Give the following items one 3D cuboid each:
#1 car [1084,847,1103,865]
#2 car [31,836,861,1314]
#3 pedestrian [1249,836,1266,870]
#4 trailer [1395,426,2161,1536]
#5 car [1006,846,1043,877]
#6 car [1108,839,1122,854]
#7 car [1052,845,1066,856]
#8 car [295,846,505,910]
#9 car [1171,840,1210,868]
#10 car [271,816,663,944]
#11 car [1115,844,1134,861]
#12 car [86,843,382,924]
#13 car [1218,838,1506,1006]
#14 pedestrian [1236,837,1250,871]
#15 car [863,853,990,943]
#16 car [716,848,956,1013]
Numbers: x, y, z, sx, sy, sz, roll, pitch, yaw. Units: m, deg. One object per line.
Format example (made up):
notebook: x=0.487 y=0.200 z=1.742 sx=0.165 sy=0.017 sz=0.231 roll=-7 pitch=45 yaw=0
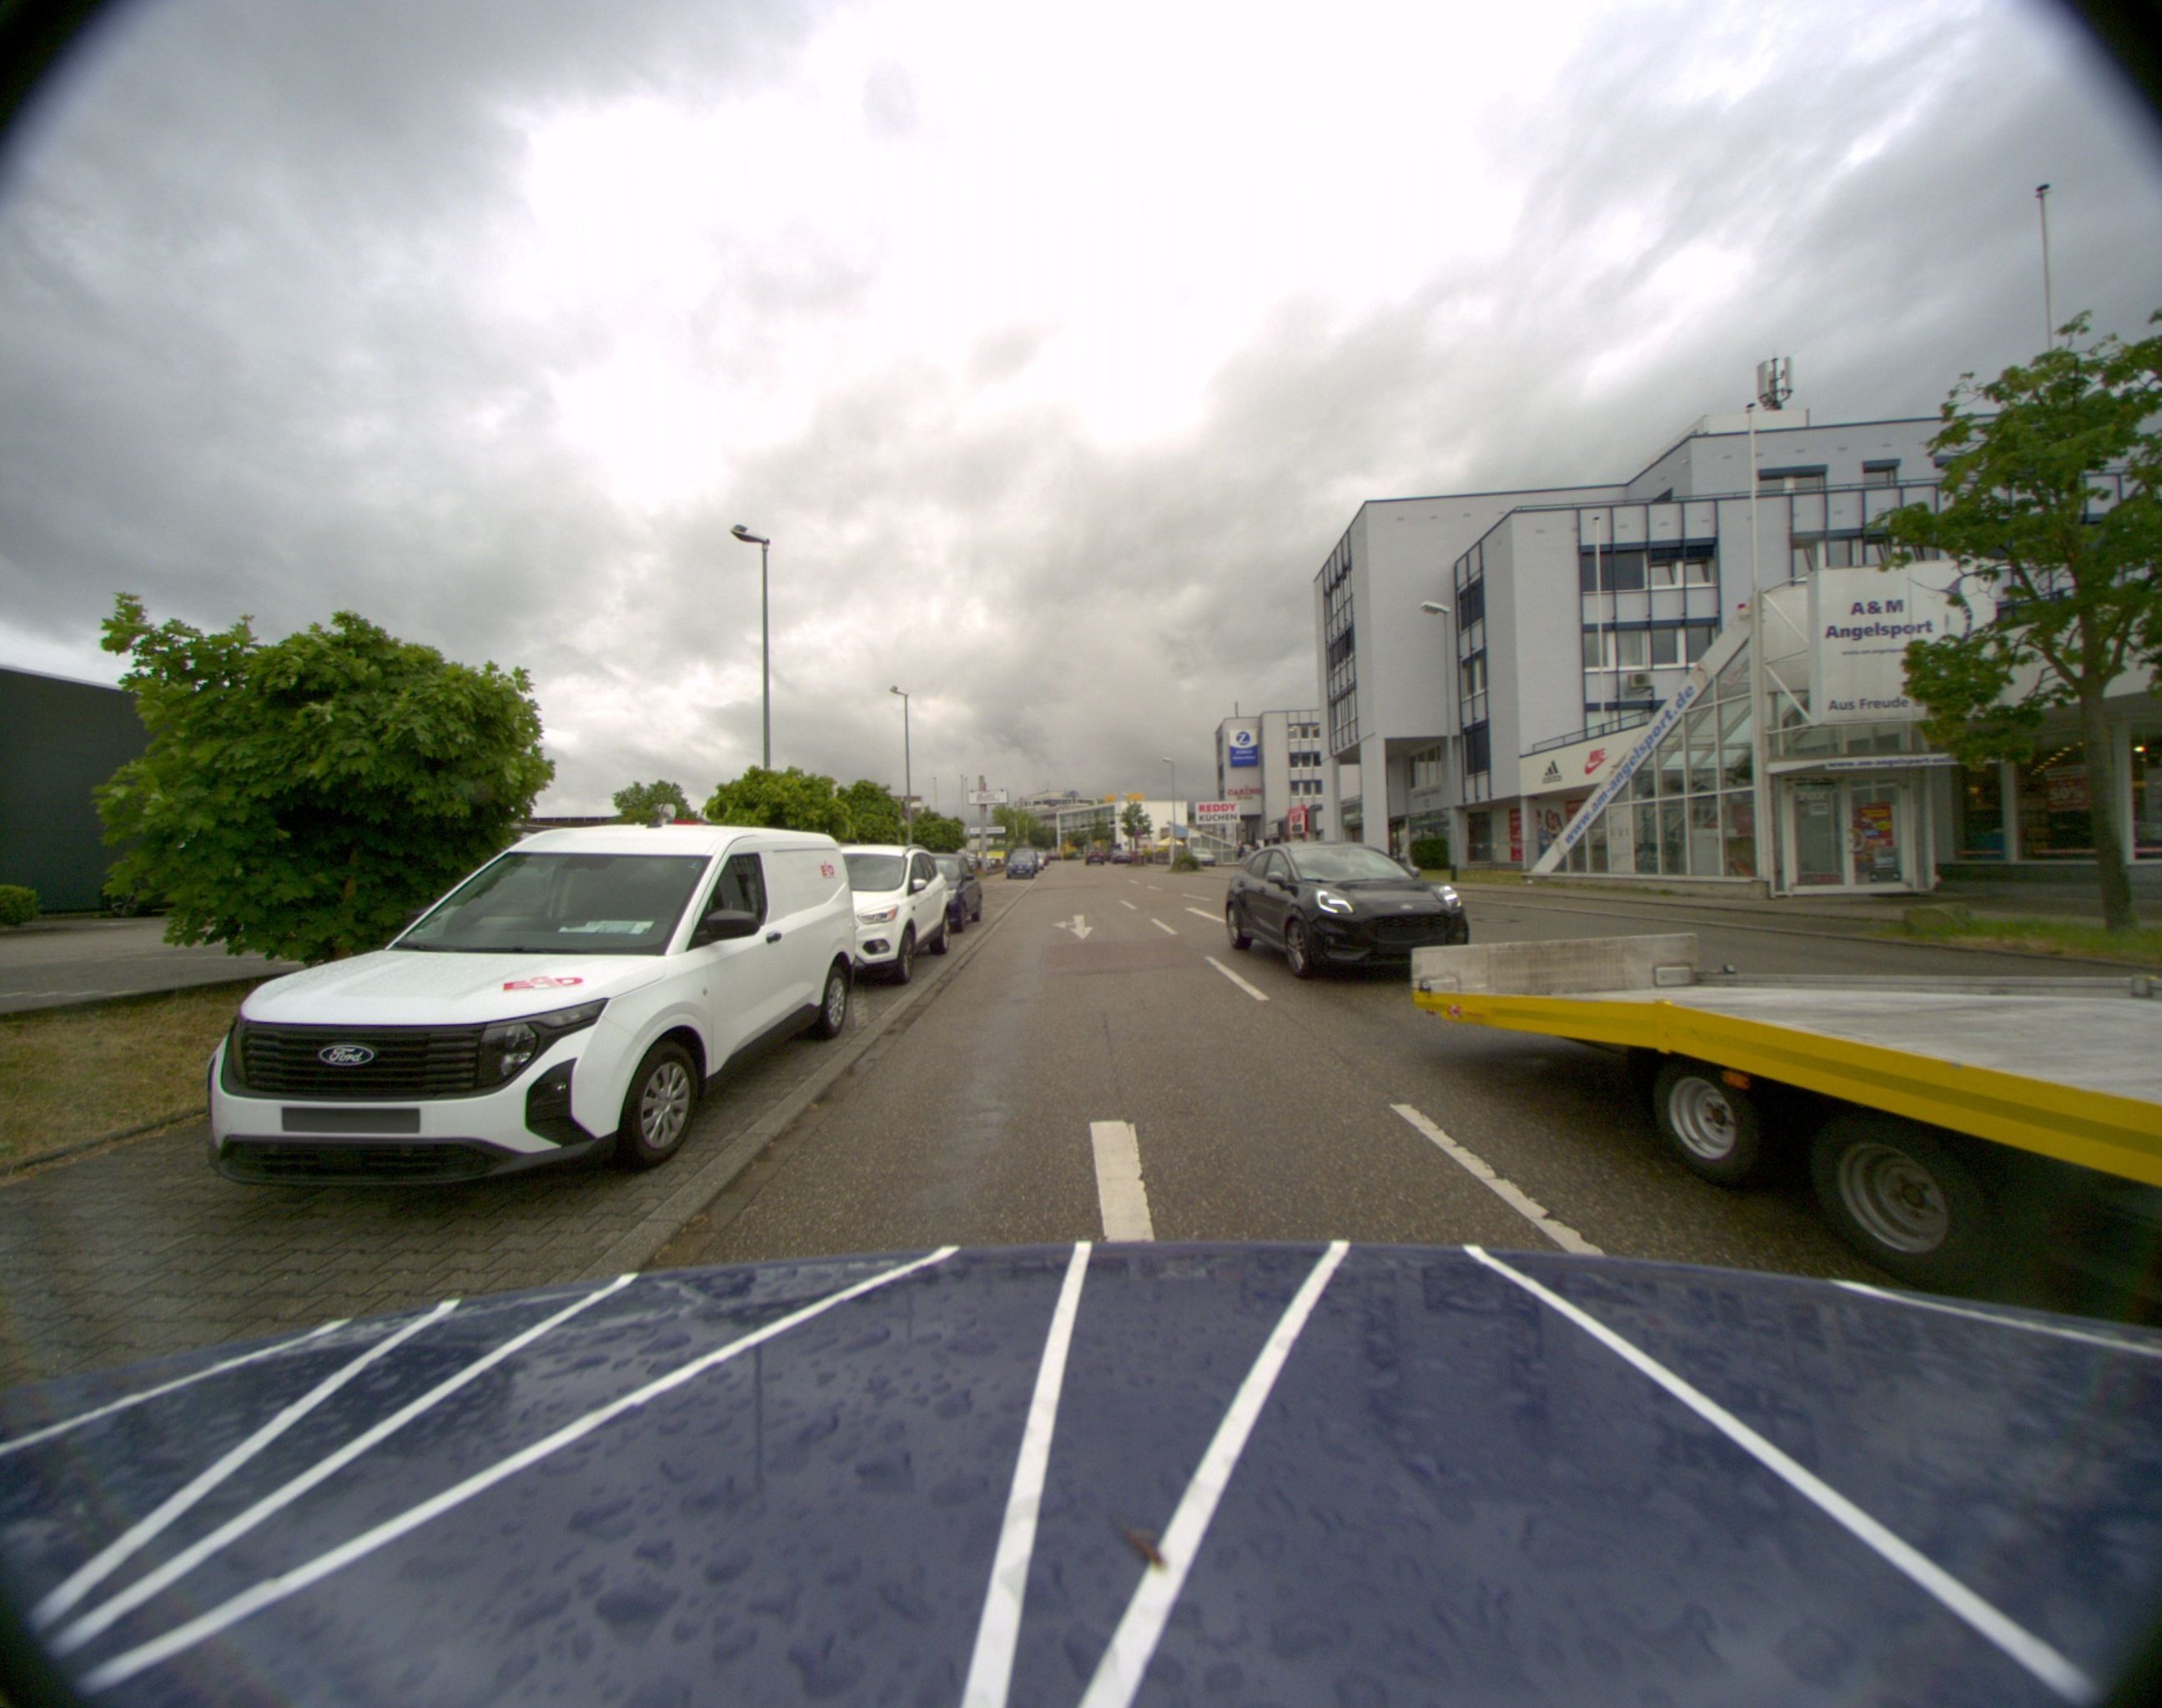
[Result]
car: x=1.318 y=0.145 z=79.507 sx=1.901 sy=1.755 sz=3.999 roll=-2 pitch=1 yaw=1
car: x=-2.958 y=0.795 z=4.942 sx=1.797 sy=1.773 sz=4.248 roll=0 pitch=1 yaw=0
pedestrian: x=9.190 y=-0.046 z=39.545 sx=0.644 sy=1.733 sz=0.589 roll=-1 pitch=2 yaw=33
trailer: x=3.544 y=0.270 z=1.614 sx=2.309 sy=2.460 sz=7.967 roll=-1 pitch=2 yaw=-1
car: x=-3.339 y=0.427 z=45.333 sx=1.822 sy=1.698 sz=3.999 roll=-2 pitch=1 yaw=1
car: x=4.223 y=-0.921 z=94.977 sx=1.566 sy=1.807 sz=3.906 roll=-2 pitch=1 yaw=1
car: x=-3.537 y=-0.593 z=121.209 sx=1.765 sy=1.755 sz=3.682 roll=-2 pitch=1 yaw=-9
car: x=-20.670 y=0.696 z=23.236 sx=4.501 sy=1.730 sz=1.891 roll=-2 pitch=1 yaw=-4
car: x=6.696 y=0.018 z=46.864 sx=1.822 sy=1.601 sz=4.000 roll=-2 pitch=0 yaw=1
car: x=-9.489 y=0.354 z=12.110 sx=4.501 sy=1.730 sz=1.891 roll=-2 pitch=1 yaw=-4
car: x=4.555 y=-0.188 z=80.345 sx=1.801 sy=1.663 sz=3.667 roll=-2 pitch=1 yaw=1
car: x=-20.386 y=0.657 z=18.490 sx=4.741 sy=1.730 sz=1.891 roll=-2 pitch=1 yaw=-4
car: x=3.110 y=0.644 z=9.390 sx=1.814 sy=1.531 sz=3.998 roll=-3 pitch=1 yaw=-4
pedestrian: x=8.230 y=0.015 z=38.580 sx=0.550 sy=1.698 sz=0.519 roll=-2 pitch=1 yaw=2
car: x=-3.164 y=0.828 z=16.355 sx=1.822 sy=1.589 sz=3.999 roll=-2 pitch=1 yaw=1
car: x=-2.972 y=0.816 z=10.195 sx=1.822 sy=1.698 sz=3.999 roll=-2 pitch=1 yaw=1
